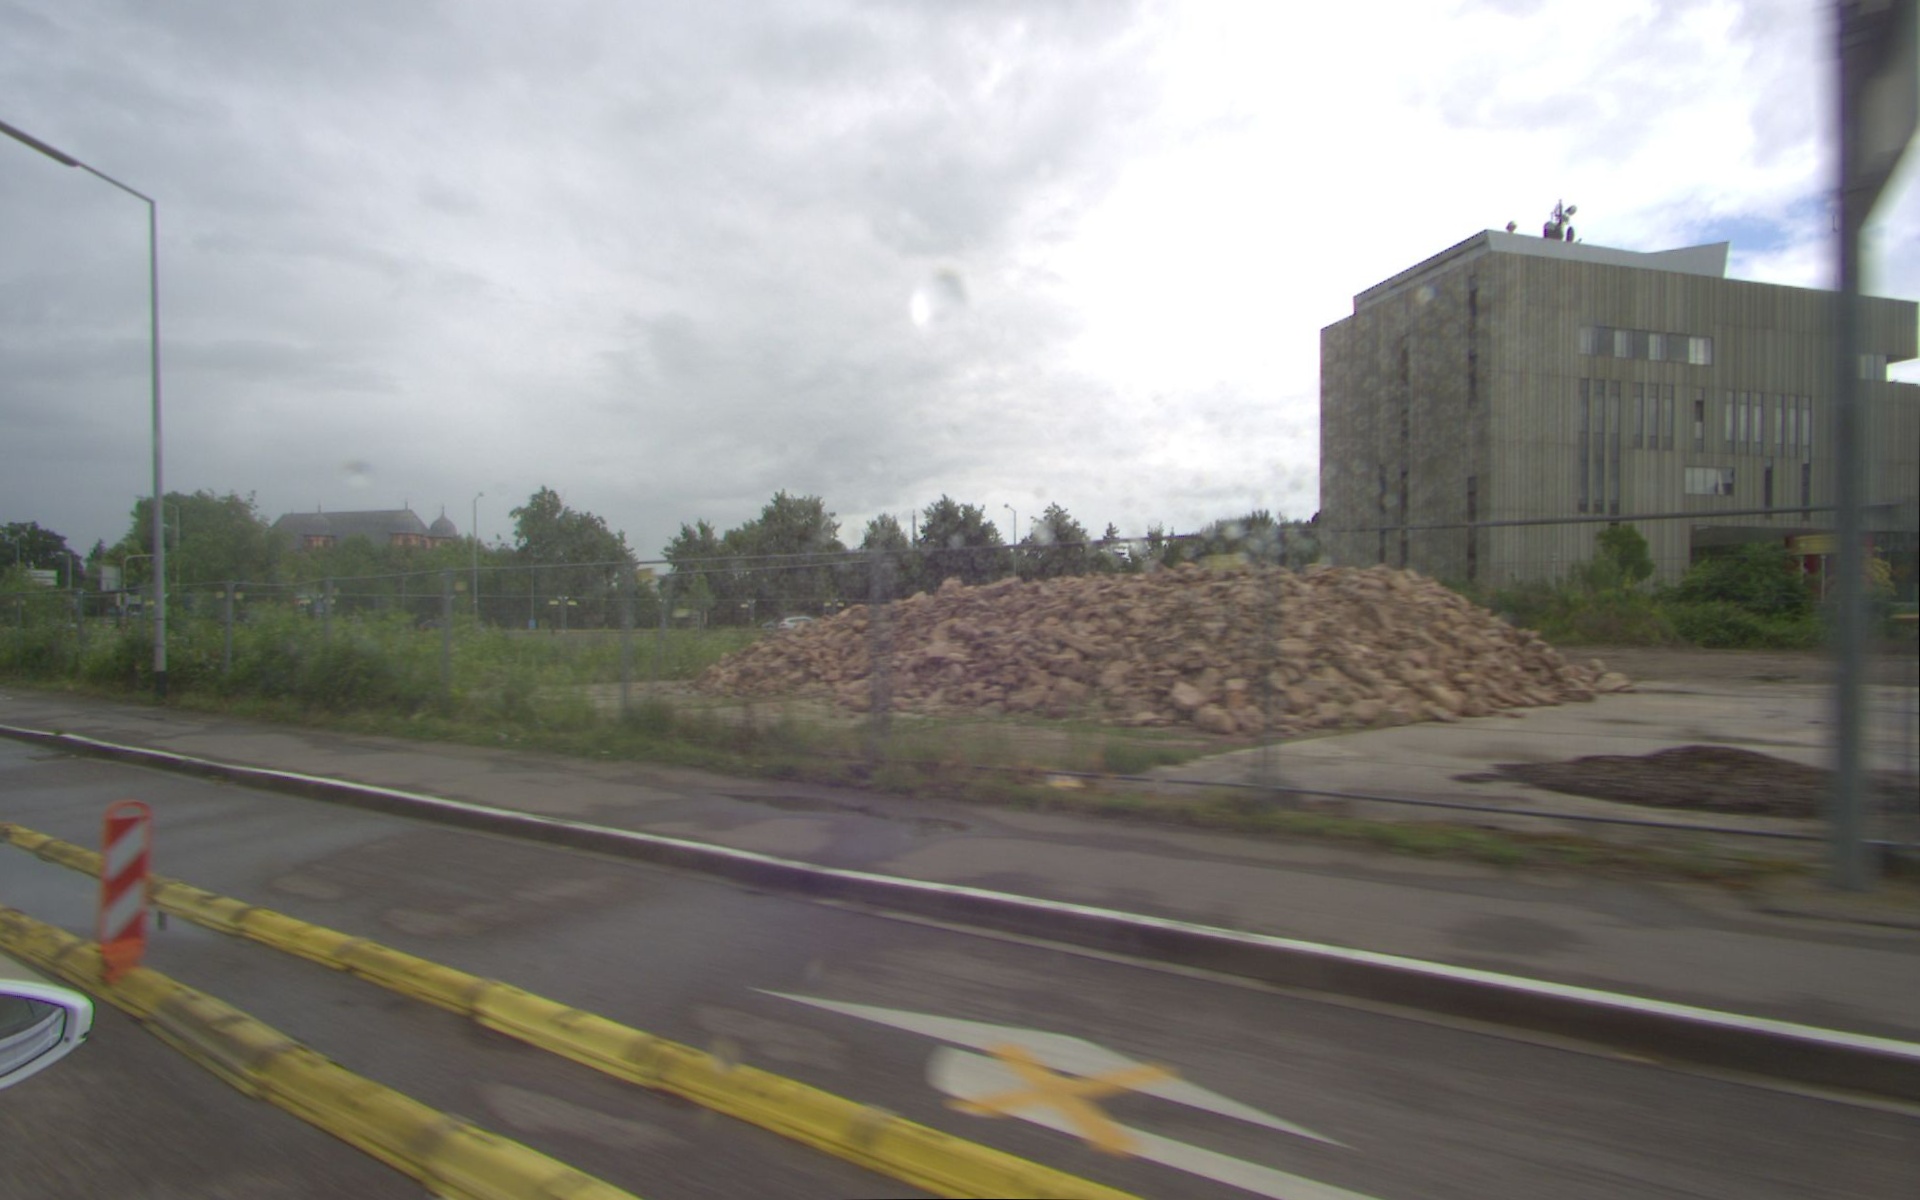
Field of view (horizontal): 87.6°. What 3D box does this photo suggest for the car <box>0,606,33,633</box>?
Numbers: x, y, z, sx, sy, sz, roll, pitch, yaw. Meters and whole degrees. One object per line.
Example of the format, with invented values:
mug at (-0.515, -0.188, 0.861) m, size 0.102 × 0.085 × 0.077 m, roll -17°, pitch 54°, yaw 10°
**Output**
car at (-67.233, 1.333, 68.940) m, size 4.526 × 1.819 × 2.112 m, roll 0°, pitch 0°, yaw -16°
